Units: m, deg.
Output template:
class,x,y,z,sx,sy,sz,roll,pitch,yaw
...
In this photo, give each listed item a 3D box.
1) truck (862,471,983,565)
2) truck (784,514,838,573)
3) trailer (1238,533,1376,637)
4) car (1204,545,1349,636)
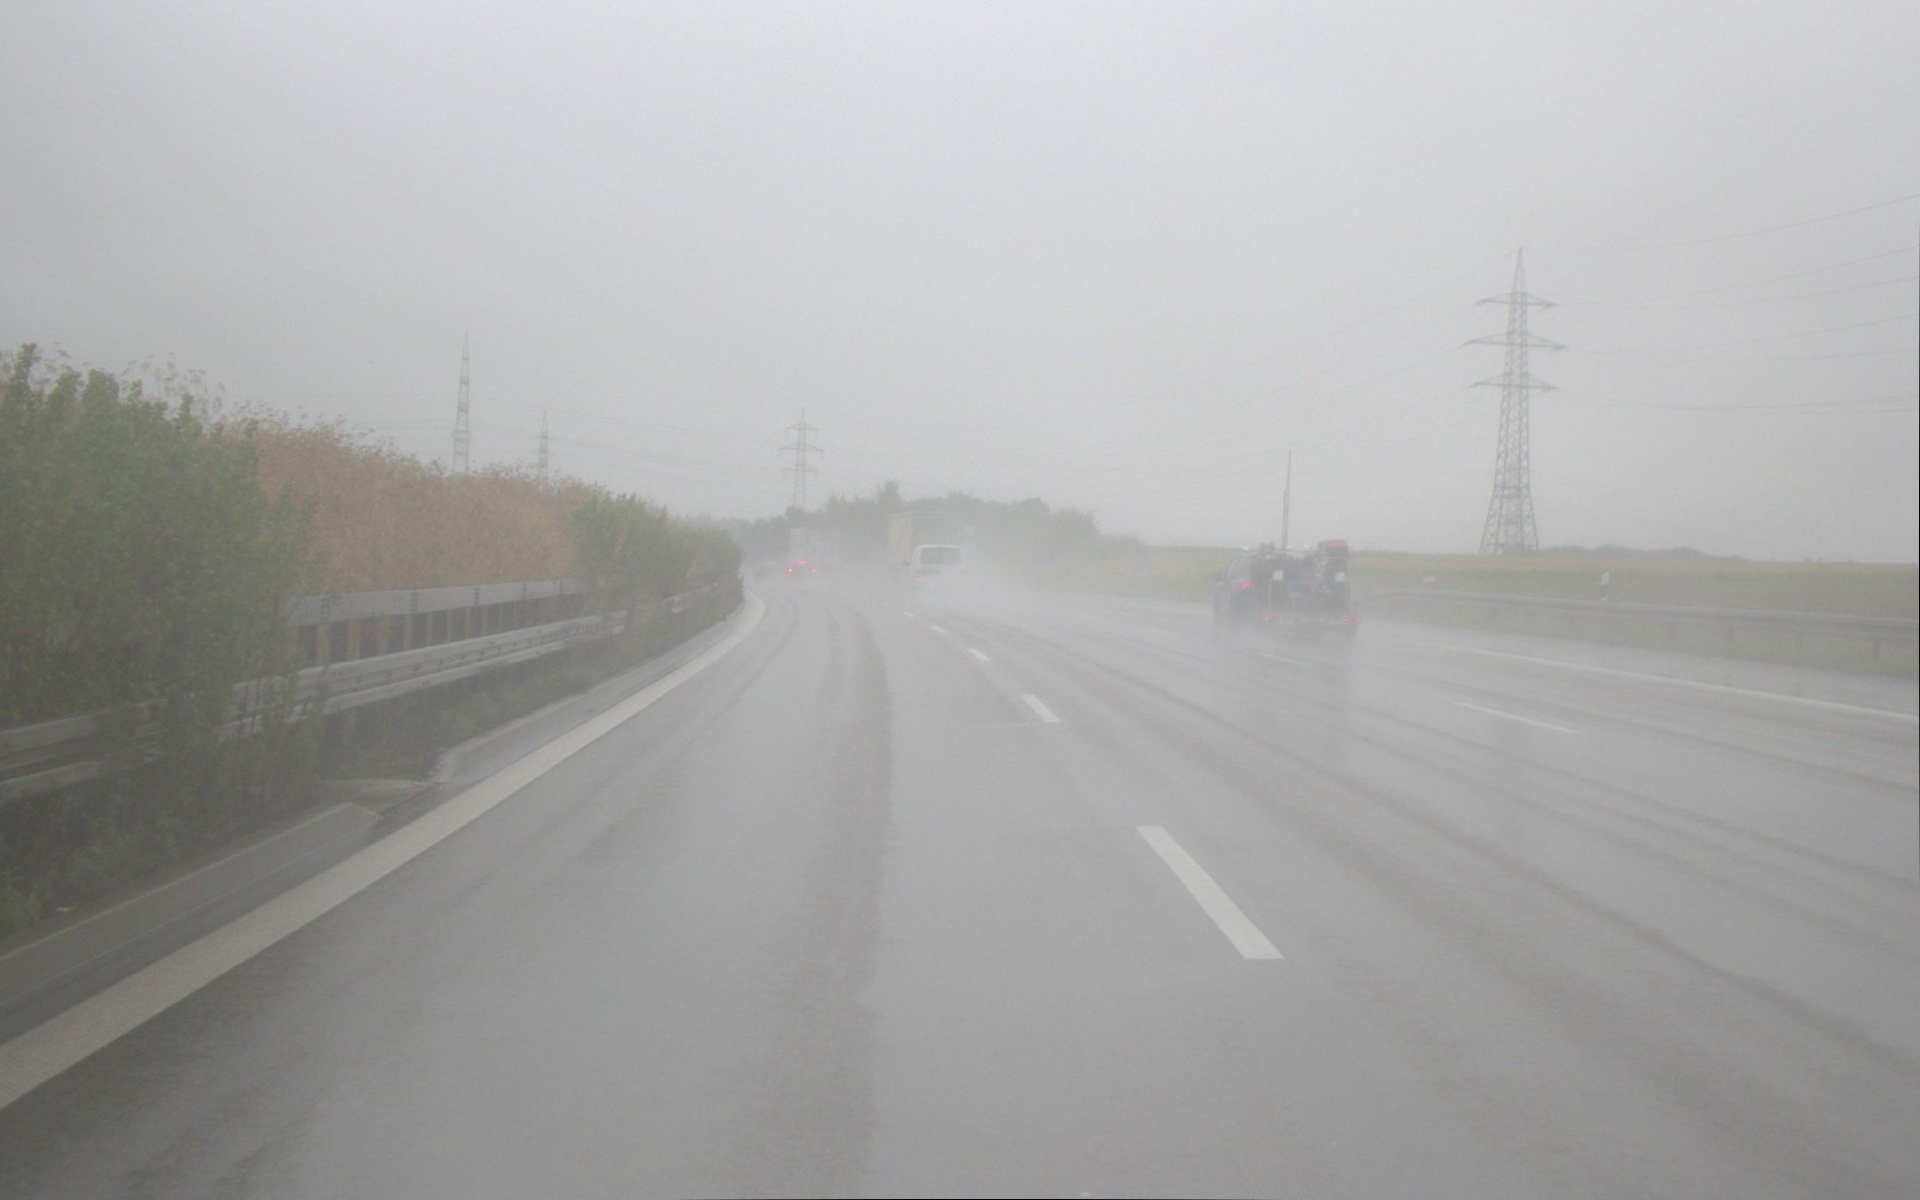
class,x,y,z,sx,sy,sz,roll,pitch,yaw
truck,-2.145,-4.281,183.992,4.188,4.614,16.109,1,0,-9
truck,-11.068,-4.178,254.805,3.232,4.297,8.839,1,1,-8
trailer,6.097,-0.255,60.762,1.979,1.779,3.189,1,0,-2
car,5.921,-0.168,64.857,1.993,1.613,4.993,1,0,-3
